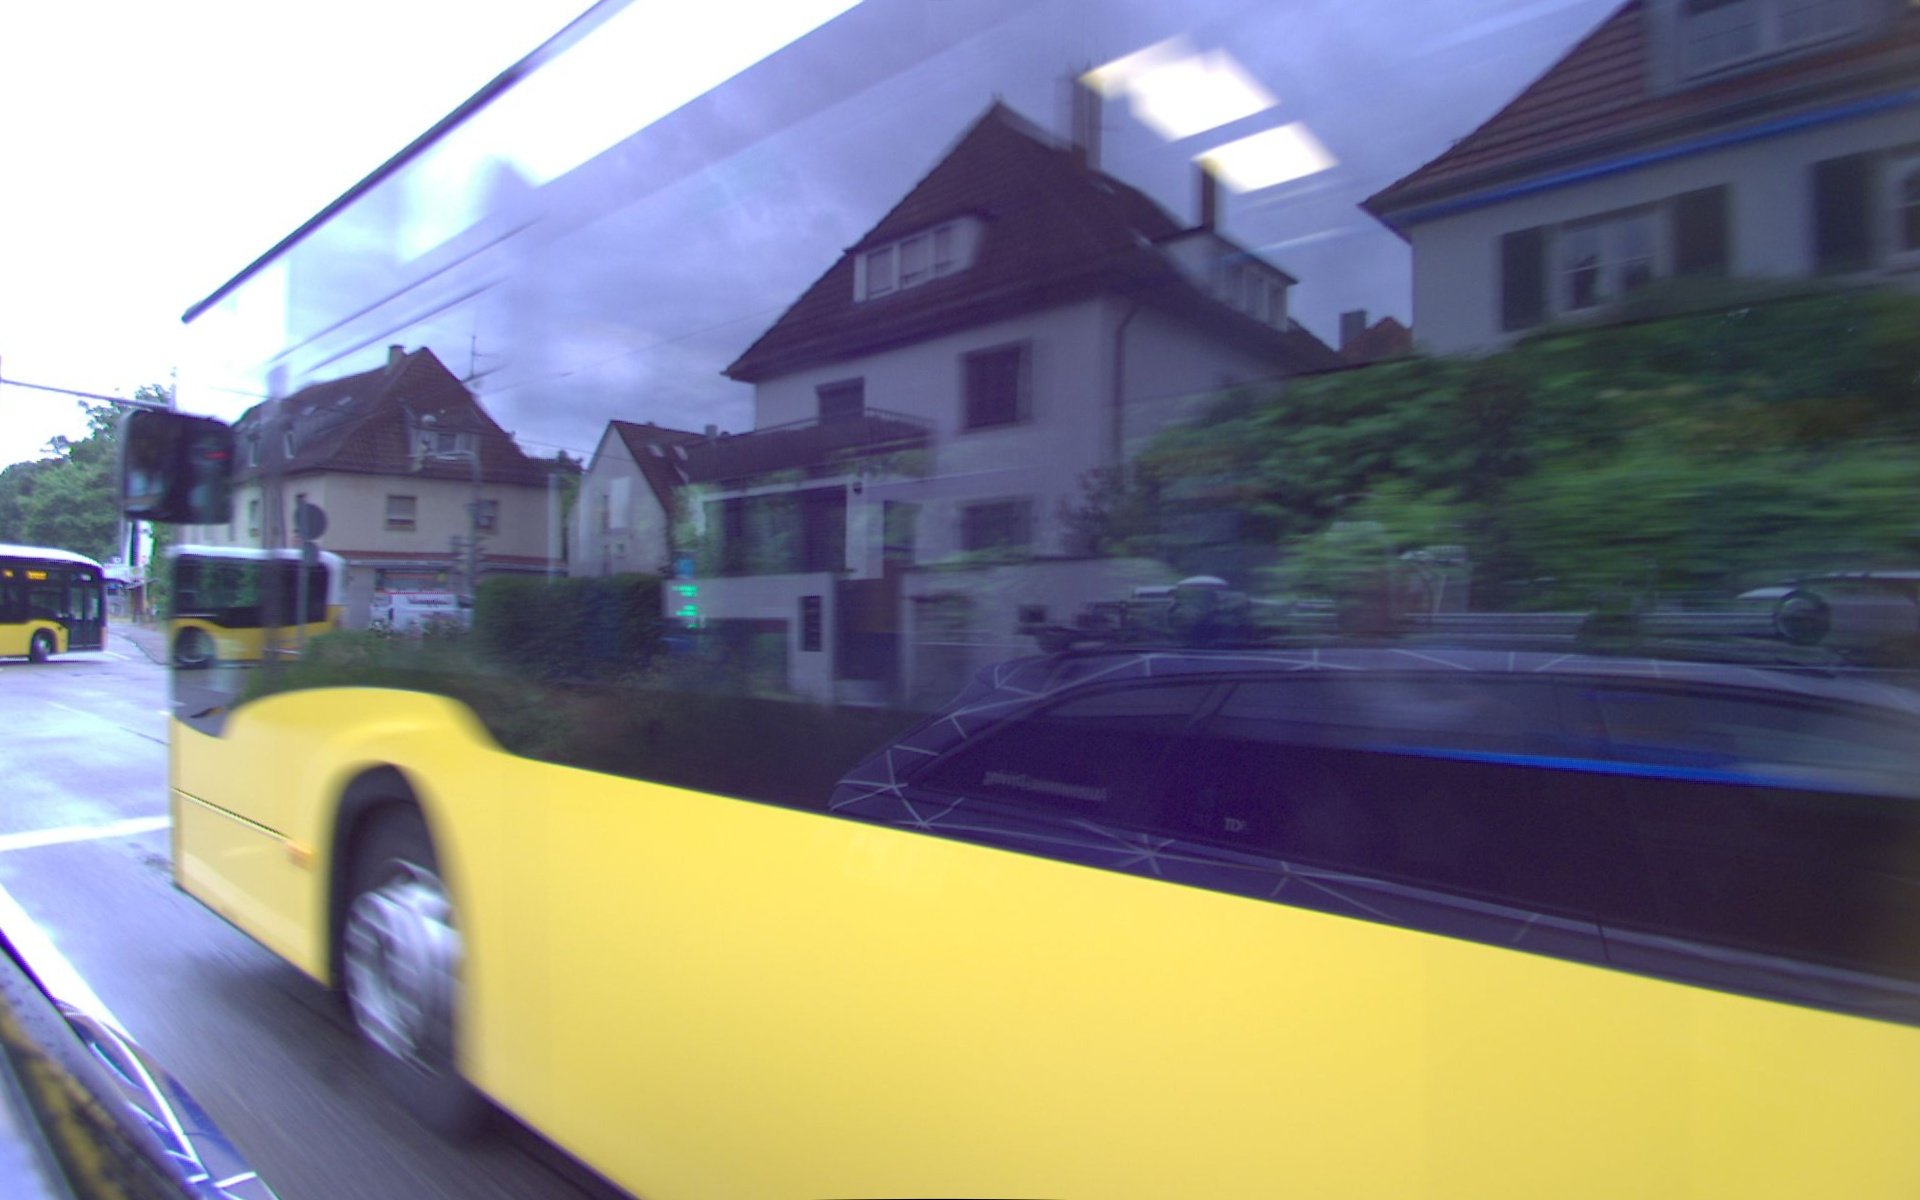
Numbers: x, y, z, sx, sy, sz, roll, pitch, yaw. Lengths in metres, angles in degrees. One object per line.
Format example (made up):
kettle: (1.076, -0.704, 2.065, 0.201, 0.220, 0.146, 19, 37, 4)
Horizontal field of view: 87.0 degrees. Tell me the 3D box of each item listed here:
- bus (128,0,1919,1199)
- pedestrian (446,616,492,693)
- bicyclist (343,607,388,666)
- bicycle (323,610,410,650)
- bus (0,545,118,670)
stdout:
bus: (0.794, -0.046, 2.342, 9.223, 3.067, 2.617, -1, -1, 40)
pedestrian: (-11.872, 1.291, 24.459, 0.763, 1.813, 0.767, 0, -1, 43)
bicyclist: (-17.290, 1.051, 29.454, 1.032, 1.665, 0.581, 0, 0, -43)
bicycle: (-17.267, 0.847, 29.478, 2.122, 1.105, 0.581, 0, 0, -43)
bus: (-27.722, 0.212, 27.368, 2.866, 3.424, 9.047, -1, -1, -4)
